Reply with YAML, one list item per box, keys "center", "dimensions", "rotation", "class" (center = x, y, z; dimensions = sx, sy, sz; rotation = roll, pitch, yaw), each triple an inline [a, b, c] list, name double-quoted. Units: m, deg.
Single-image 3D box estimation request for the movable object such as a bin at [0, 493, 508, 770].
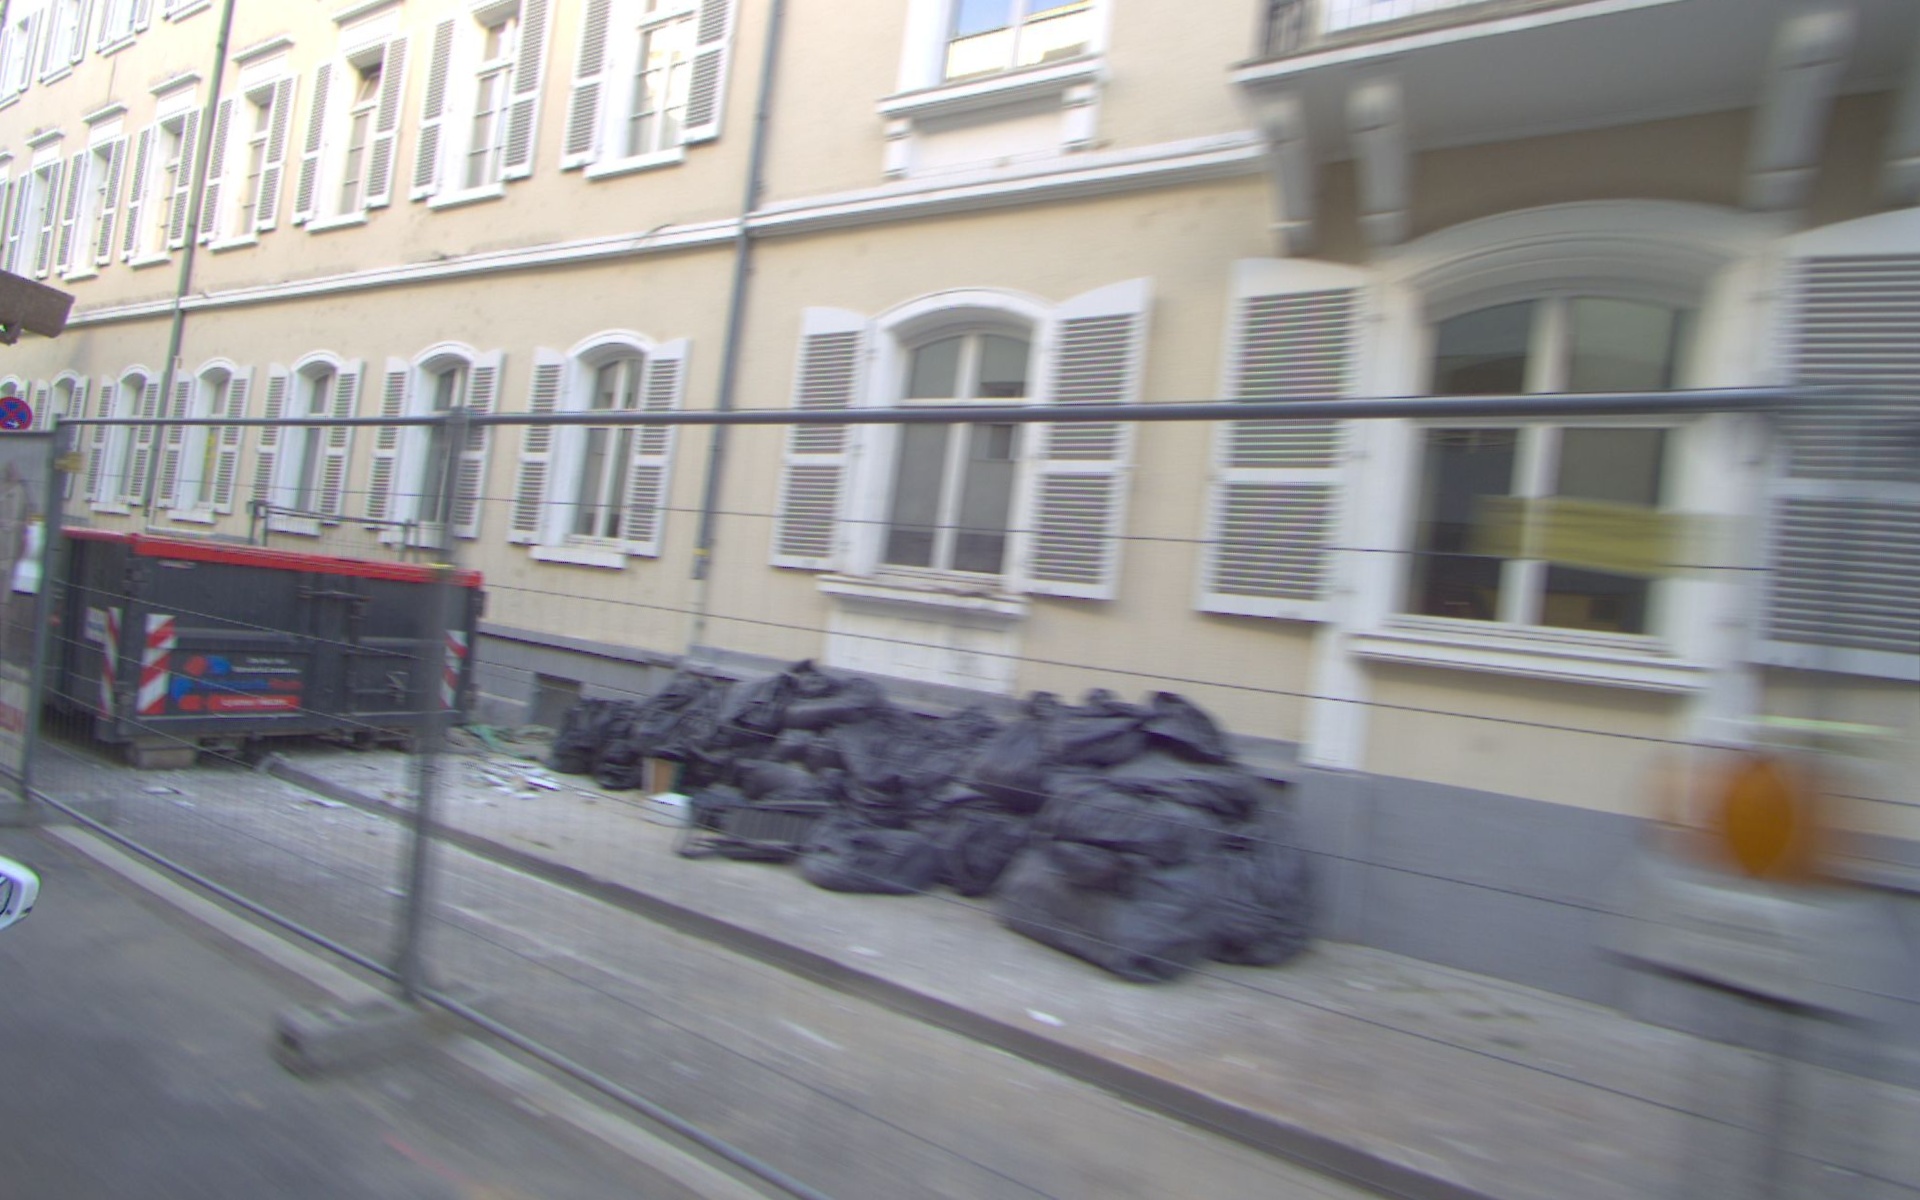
- center: [-7.830, 0.072, 9.295]
  dimensions: [7.425, 1.656, 2.744]
  rotation: [6, -4, 30]
  class: "movable object such as a bin"
